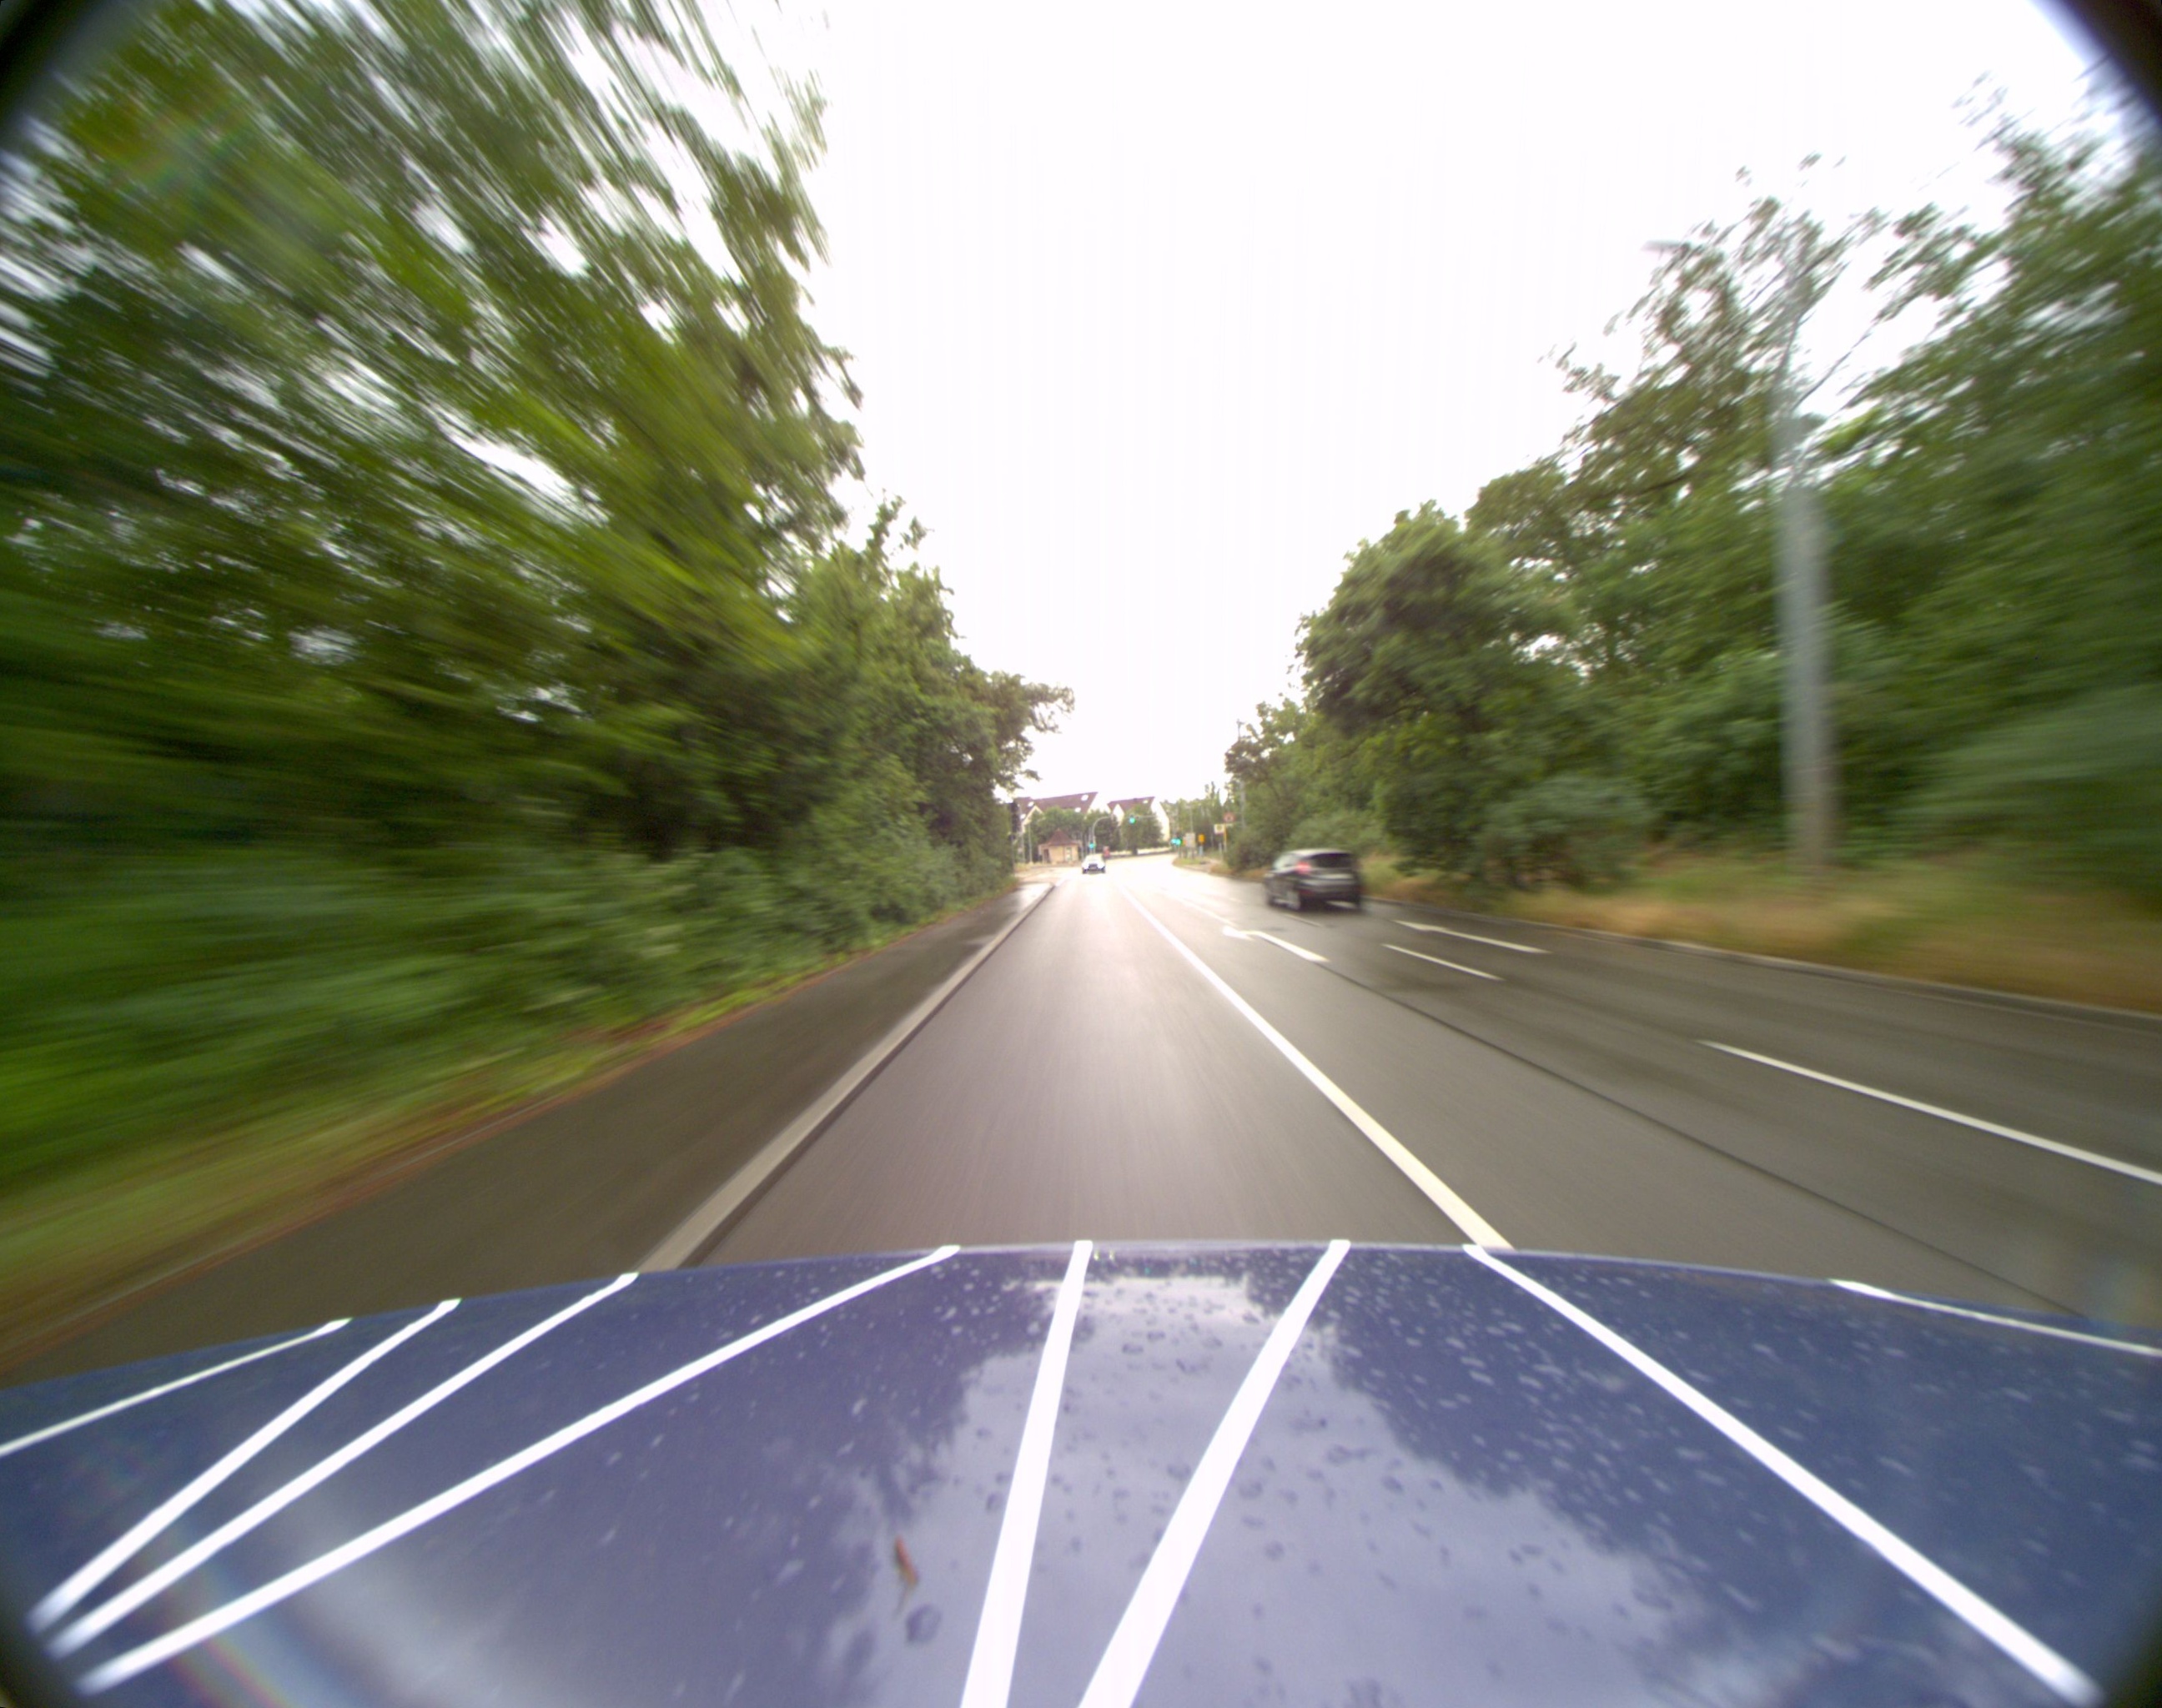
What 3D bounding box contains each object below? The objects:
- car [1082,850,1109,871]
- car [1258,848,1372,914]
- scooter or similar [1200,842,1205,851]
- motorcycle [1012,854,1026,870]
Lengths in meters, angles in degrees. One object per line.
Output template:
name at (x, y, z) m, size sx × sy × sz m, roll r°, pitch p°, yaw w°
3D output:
car at (1.169, 0.519, 60.246) m, size 1.945 × 1.447 × 4.603 m, roll -3°, pitch 1°, yaw 2°
car at (5.699, 0.601, 18.990) m, size 1.603 × 1.433 × 3.990 m, roll -2°, pitch 0°, yaw 0°
scooter or similar at (15.653, -0.957, 97.572) m, size 0.518 × 1.205 × 1.470 m, roll -3°, pitch 1°, yaw 12°
motorcycle at (-5.312, 0.661, 65.556) m, size 0.589 × 1.281 × 1.539 m, roll -2°, pitch 1°, yaw 19°
